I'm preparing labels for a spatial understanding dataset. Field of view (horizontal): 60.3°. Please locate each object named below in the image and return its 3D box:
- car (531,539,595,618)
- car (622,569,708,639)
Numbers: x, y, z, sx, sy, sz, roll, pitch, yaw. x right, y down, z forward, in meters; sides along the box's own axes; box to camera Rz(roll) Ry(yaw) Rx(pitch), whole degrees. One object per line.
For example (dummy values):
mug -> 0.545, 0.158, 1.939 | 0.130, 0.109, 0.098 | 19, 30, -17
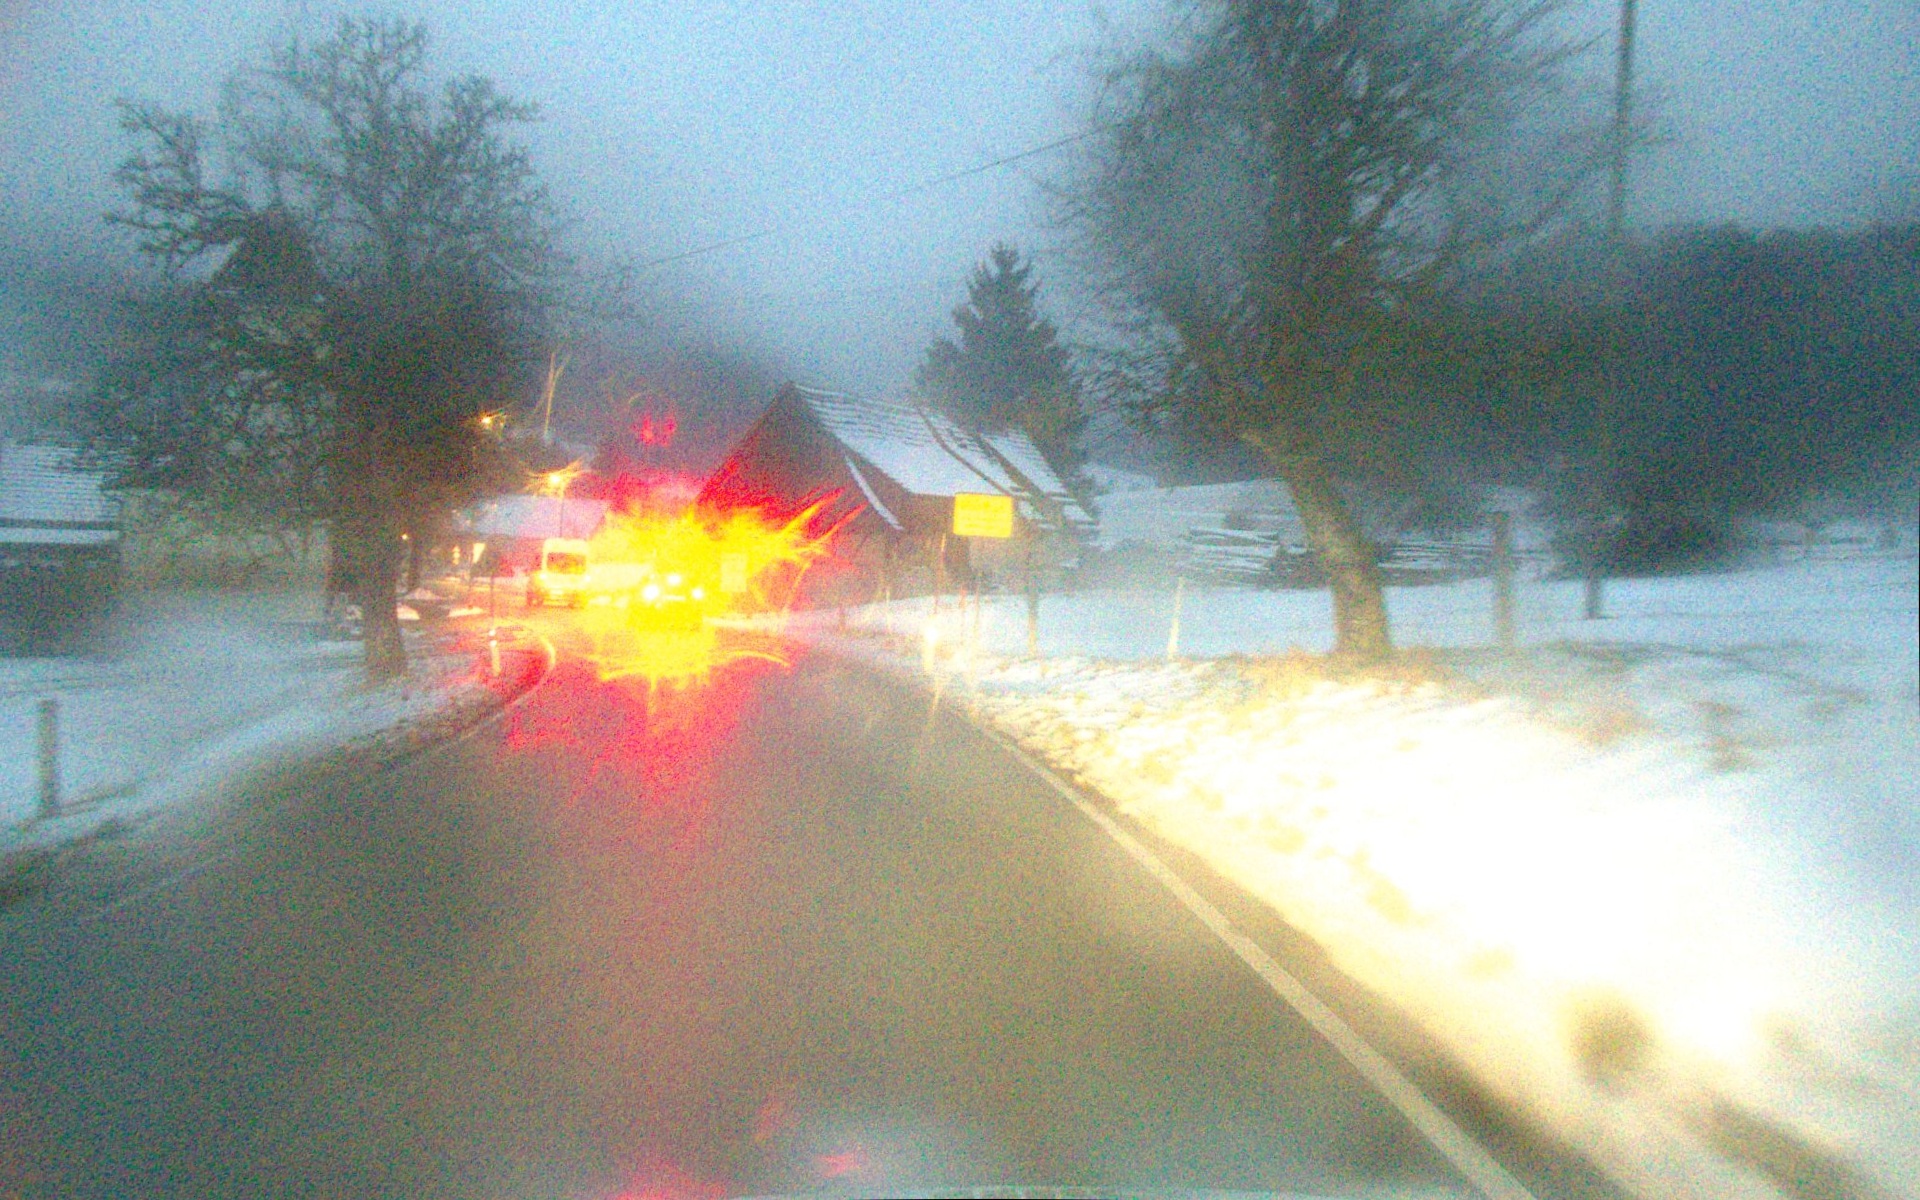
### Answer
car -> -16.135, -0.804, 67.346 | 2.393, 3.071, 5.306 | 1, -1, -13
car -> -8.463, 0.071, 47.125 | 2.234, 1.873, 4.991 | 0, 1, -12
